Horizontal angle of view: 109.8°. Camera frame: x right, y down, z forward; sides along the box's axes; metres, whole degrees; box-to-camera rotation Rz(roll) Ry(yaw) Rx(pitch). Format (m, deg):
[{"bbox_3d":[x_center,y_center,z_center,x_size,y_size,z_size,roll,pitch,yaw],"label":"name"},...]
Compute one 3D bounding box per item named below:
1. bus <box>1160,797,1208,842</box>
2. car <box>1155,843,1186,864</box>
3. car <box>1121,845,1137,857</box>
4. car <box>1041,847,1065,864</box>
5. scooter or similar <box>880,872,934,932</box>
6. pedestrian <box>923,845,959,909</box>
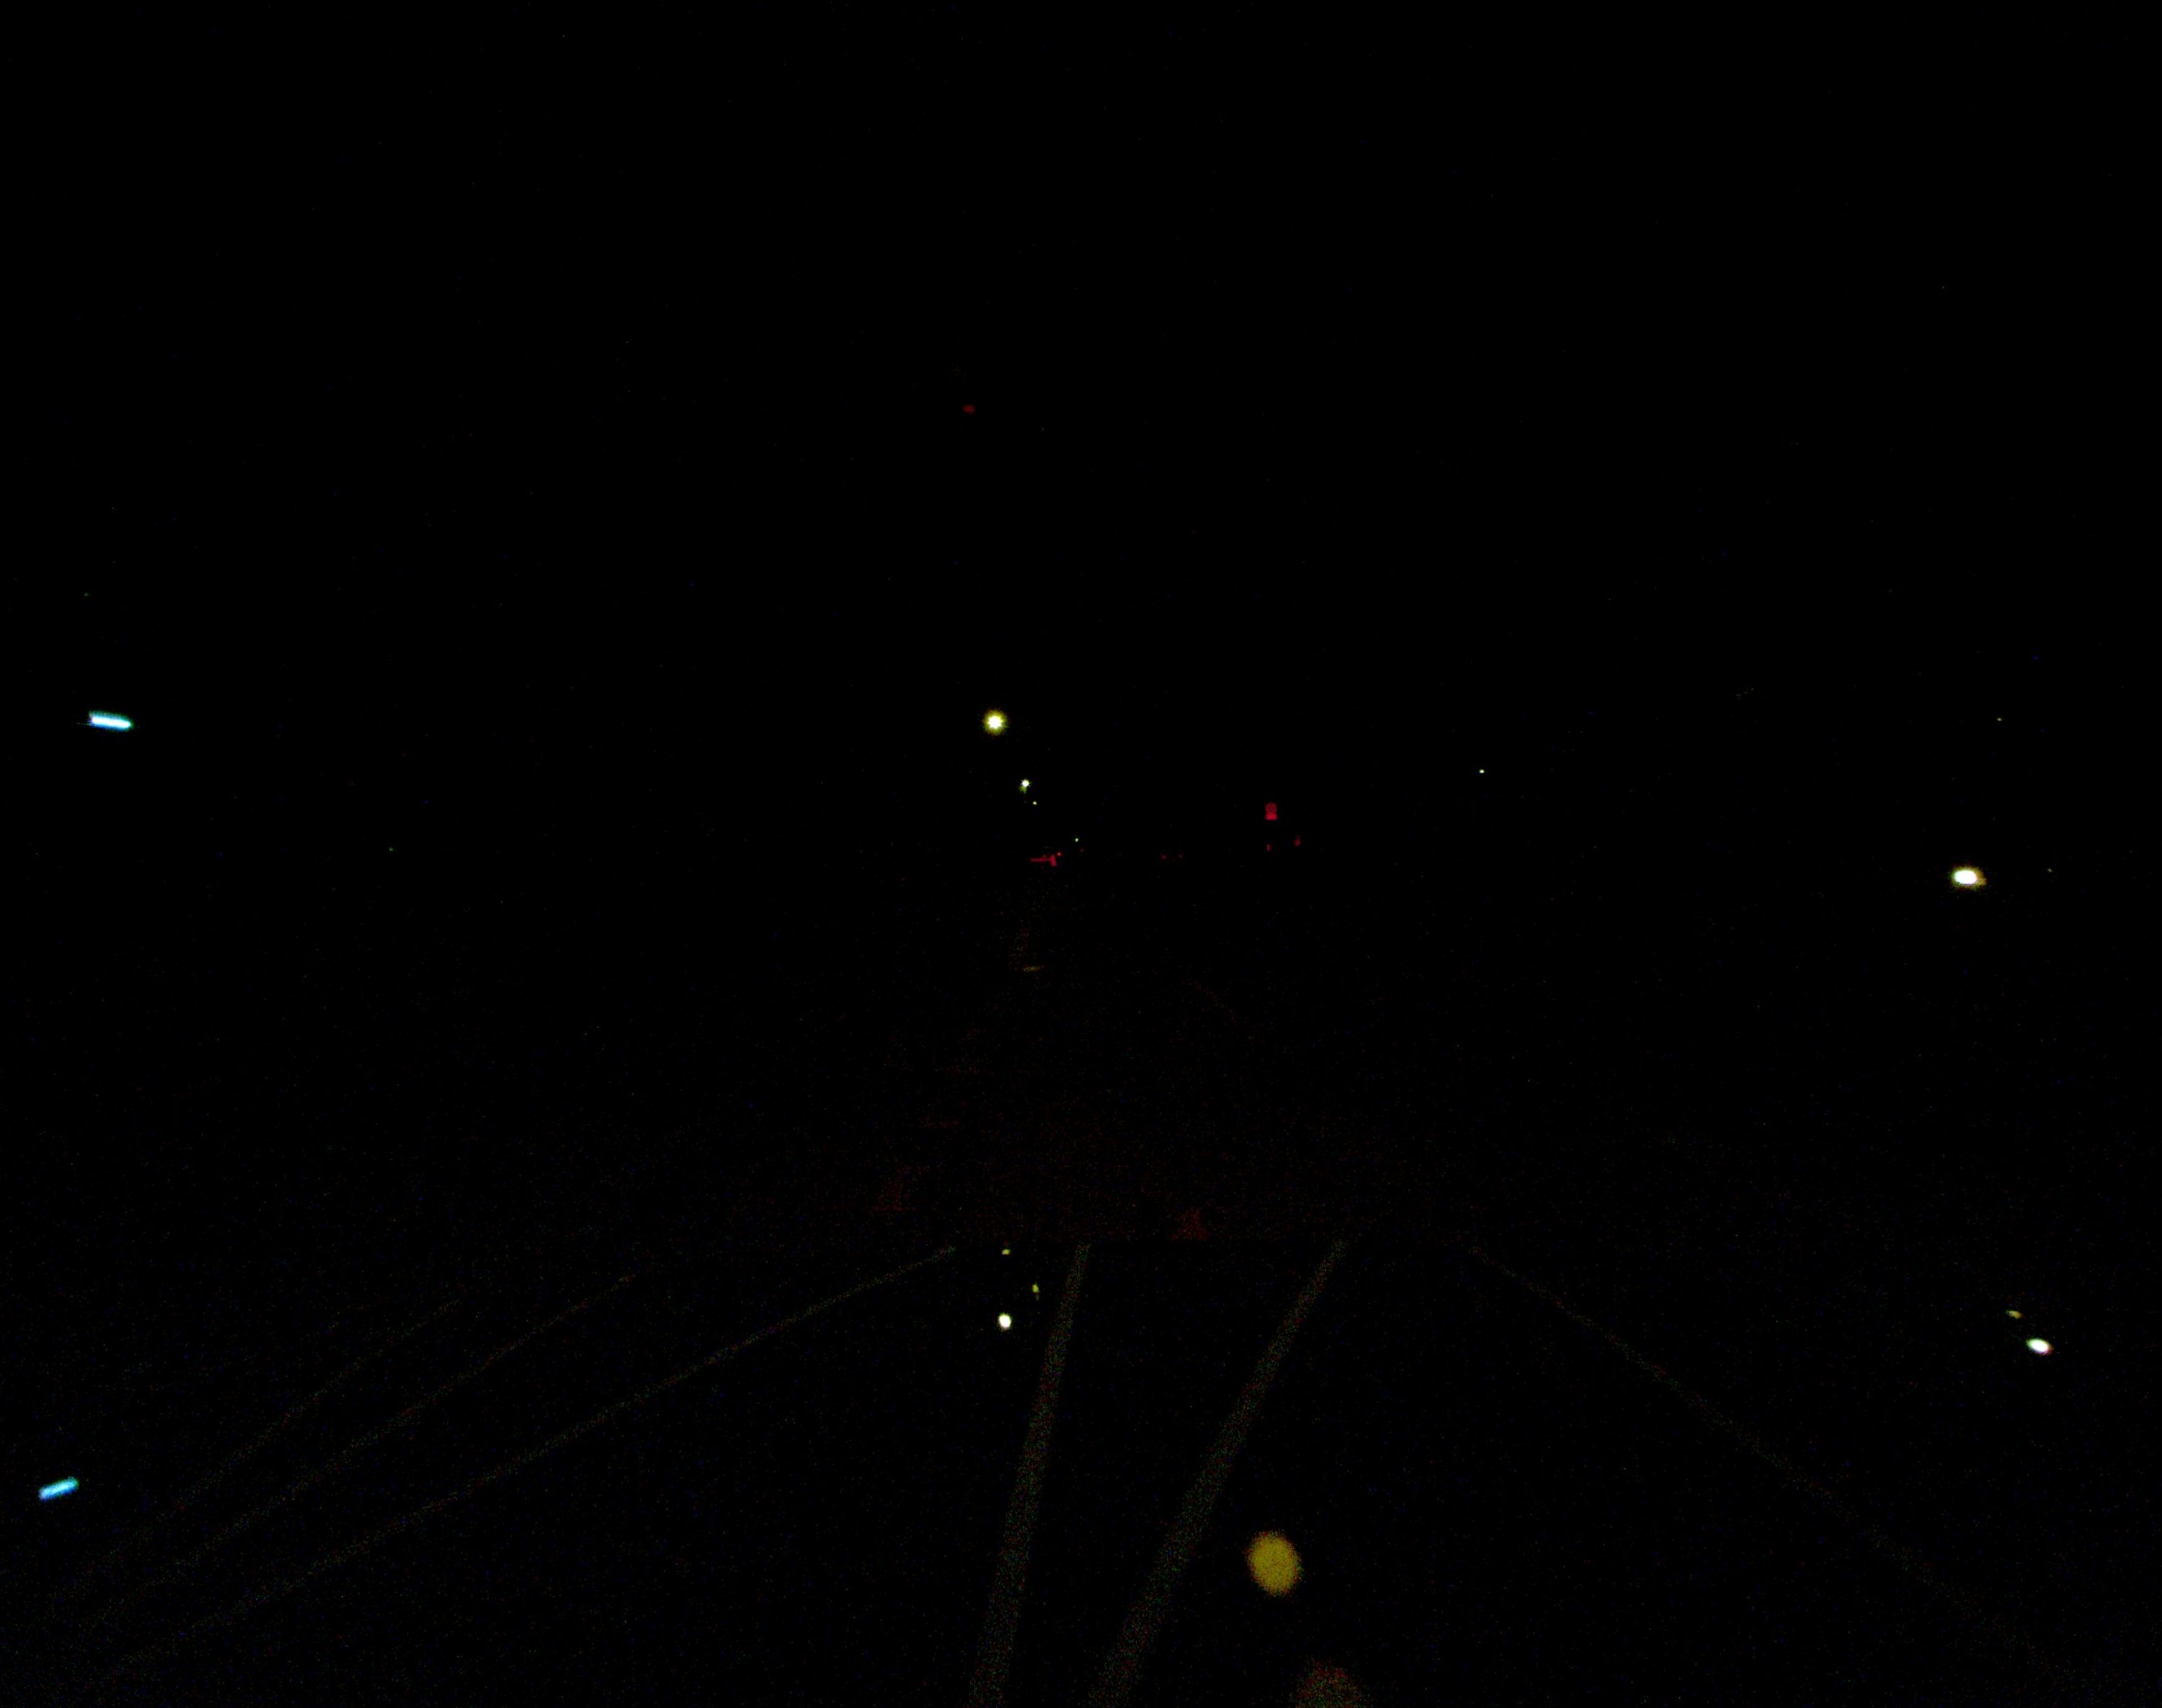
[{"bbox_3d":[17.290,-5.603,129.213,6.135,6.898,14.781,-2,1,1],"label":"bus"},{"bbox_3d":[7.123,-0.065,60.806,1.806,1.583,3.999,-2,1,-2],"label":"car"},{"bbox_3d":[6.261,-0.385,100.315,1.863,1.484,4.080,-2,1,1],"label":"car"},{"bbox_3d":[-2.899,0.159,78.204,1.998,1.638,4.000,1,2,4],"label":"car"},{"bbox_3d":[-3.662,1.000,16.046,0.468,1.195,1.137,-2,0,24],"label":"scooter or similar"},{"bbox_3d":[-4.190,0.661,22.821,0.819,1.854,1.034,-2,1,1],"label":"pedestrian"}]
